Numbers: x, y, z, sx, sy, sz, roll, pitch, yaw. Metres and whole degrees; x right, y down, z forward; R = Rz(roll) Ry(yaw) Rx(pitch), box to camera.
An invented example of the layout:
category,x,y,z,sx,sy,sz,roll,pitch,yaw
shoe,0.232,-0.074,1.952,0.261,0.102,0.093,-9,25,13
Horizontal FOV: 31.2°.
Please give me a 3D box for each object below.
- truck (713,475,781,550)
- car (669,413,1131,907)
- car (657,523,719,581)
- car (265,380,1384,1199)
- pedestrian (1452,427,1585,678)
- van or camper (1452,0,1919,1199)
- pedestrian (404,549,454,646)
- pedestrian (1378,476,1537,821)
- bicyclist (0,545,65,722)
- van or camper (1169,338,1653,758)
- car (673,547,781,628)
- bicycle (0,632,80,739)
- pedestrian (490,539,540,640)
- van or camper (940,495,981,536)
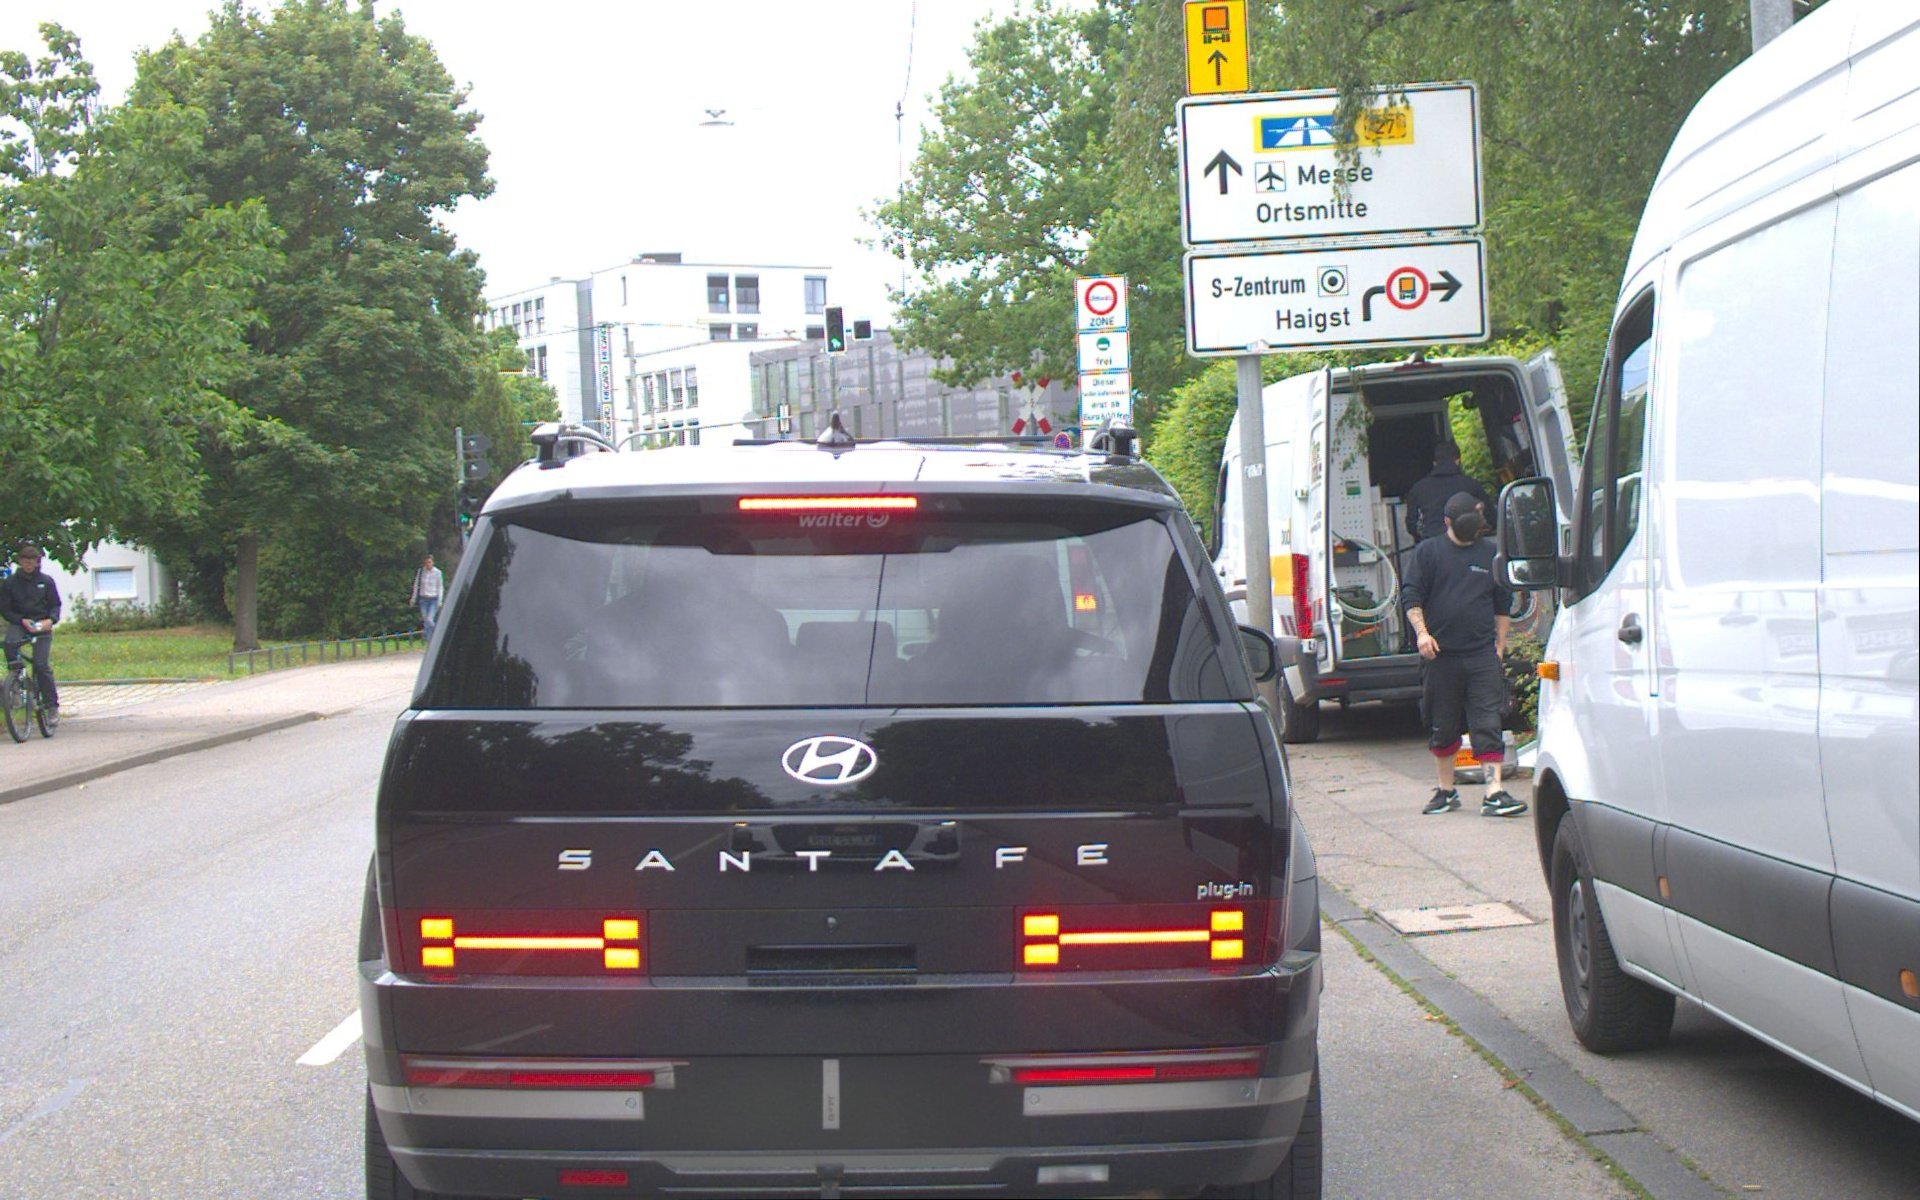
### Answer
category,x,y,z,sx,sy,sz,roll,pitch,yaw
truck,-11.625,-4.690,187.081,3.107,3.846,9.623,-2,1,-6
car,-0.273,0.231,16.350,1.897,2.035,3.994,1,1,-1
car,-11.424,-2.002,144.208,2.332,2.307,4.959,-2,1,-6
car,-0.257,0.504,7.887,1.897,1.770,3.994,1,1,-1
pedestrian,3.793,-0.320,23.320,0.737,1.638,0.801,-3,0,14
van or camper,2.605,-0.017,7.007,1.991,2.616,6.544,-5,1,-1
pedestrian,-9.644,-0.044,62.458,0.767,1.742,0.904,-1,0,0
pedestrian,2.558,0.236,17.632,0.750,1.715,0.791,1,0,11
bicyclist,-8.938,0.319,33.078,0.487,1.678,0.588,1,0,-1
van or camper,3.084,-0.331,25.281,2.340,2.486,6.603,-5,0,-1
car,-4.502,-0.263,66.858,1.756,1.398,4.414,-4,1,-1
bicycle,-8.948,0.807,33.124,0.495,0.961,1.748,1,1,-1
pedestrian,-8.982,-0.220,69.392,0.830,2.007,1.047,1,0,2
van or camper,0.008,-4.221,172.490,1.795,1.992,3.824,1,1,-4
